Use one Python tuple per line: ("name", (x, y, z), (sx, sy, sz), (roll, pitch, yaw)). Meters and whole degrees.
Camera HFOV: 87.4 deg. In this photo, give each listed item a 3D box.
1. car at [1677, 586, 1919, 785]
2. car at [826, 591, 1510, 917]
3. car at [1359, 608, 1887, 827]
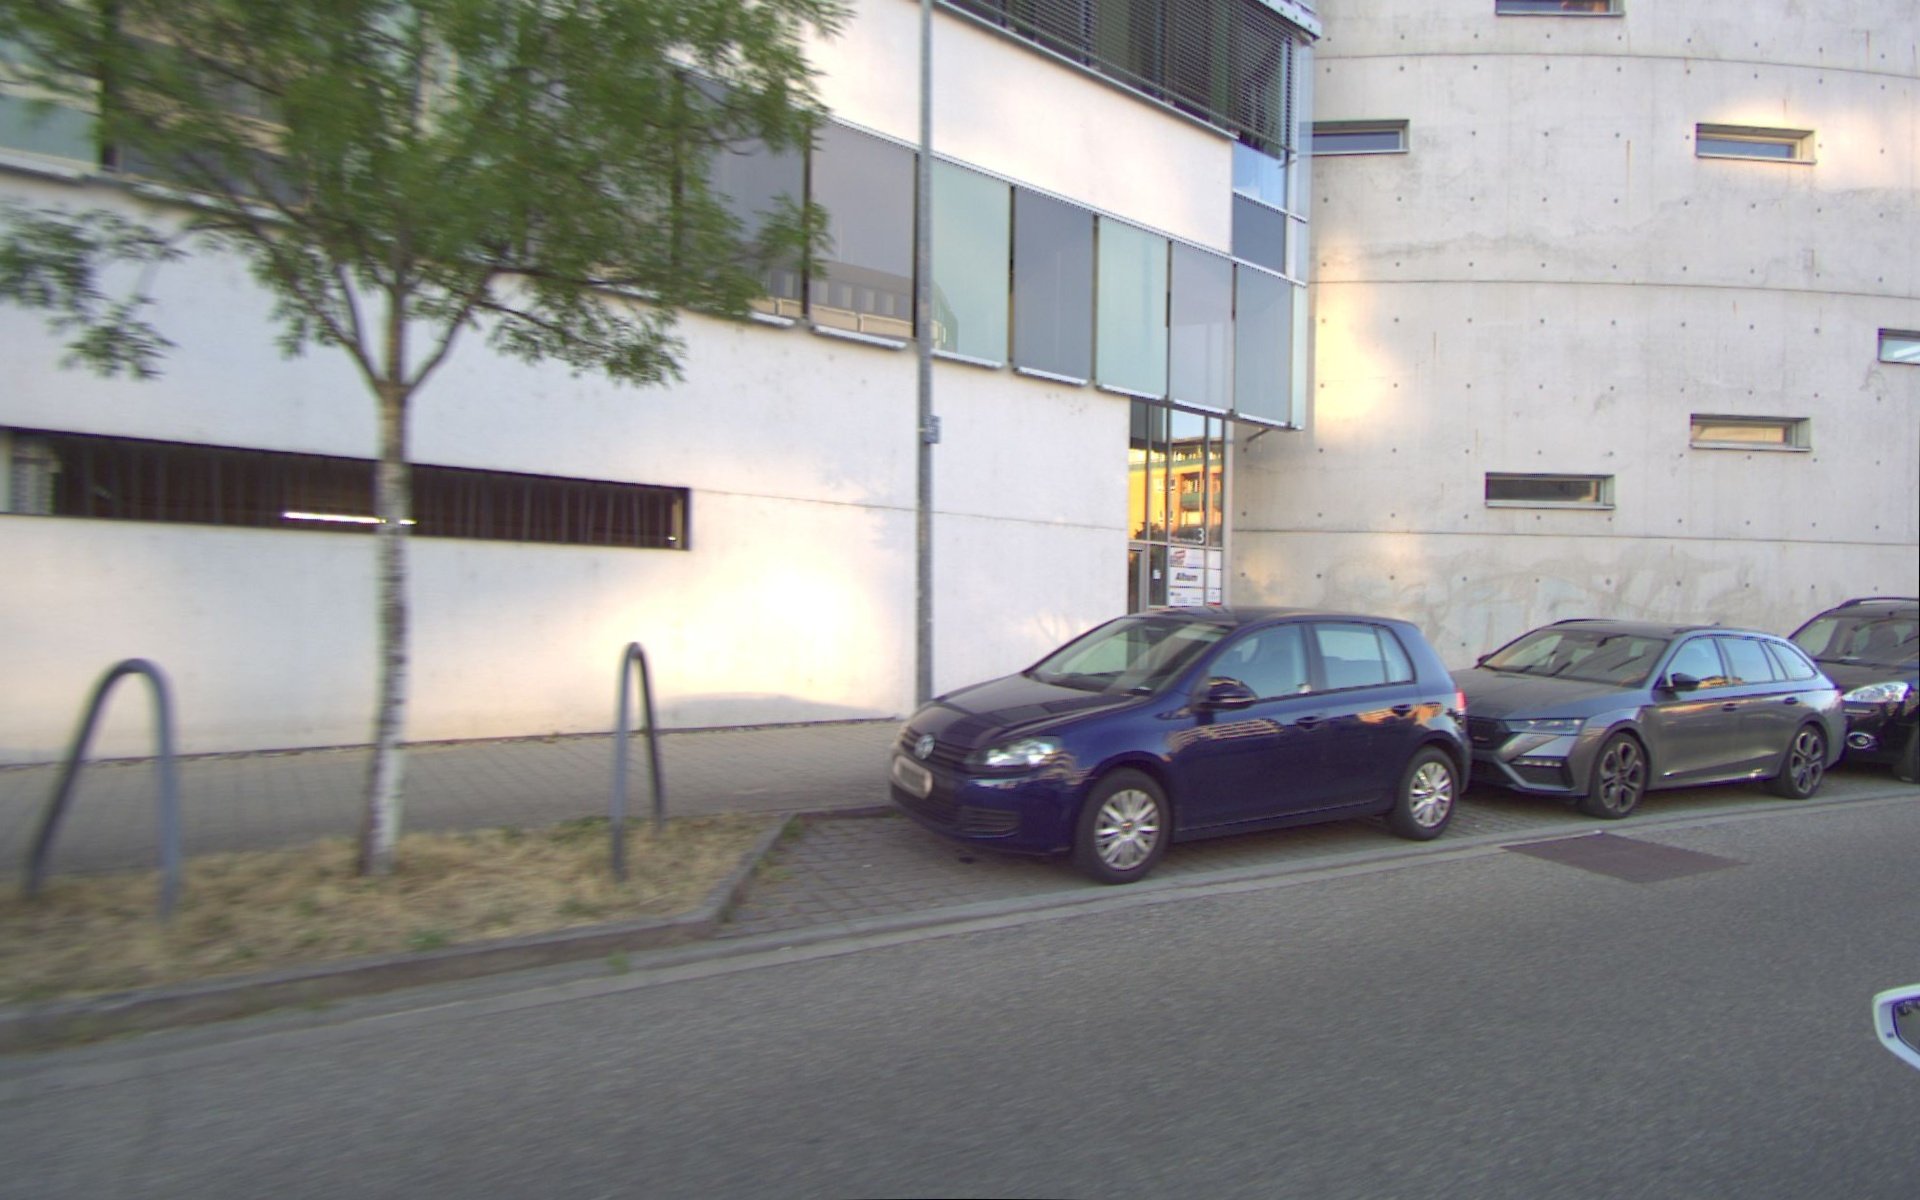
("car", (10.262, 0.840, 10.976), (4.396, 1.823, 1.754), (1, 1, -21))
("car", (1.435, 0.751, 6.472), (4.220, 1.477, 1.714), (1, 2, -30))
("car", (5.891, 0.881, 8.837), (4.631, 1.477, 1.717), (1, 1, -26))
